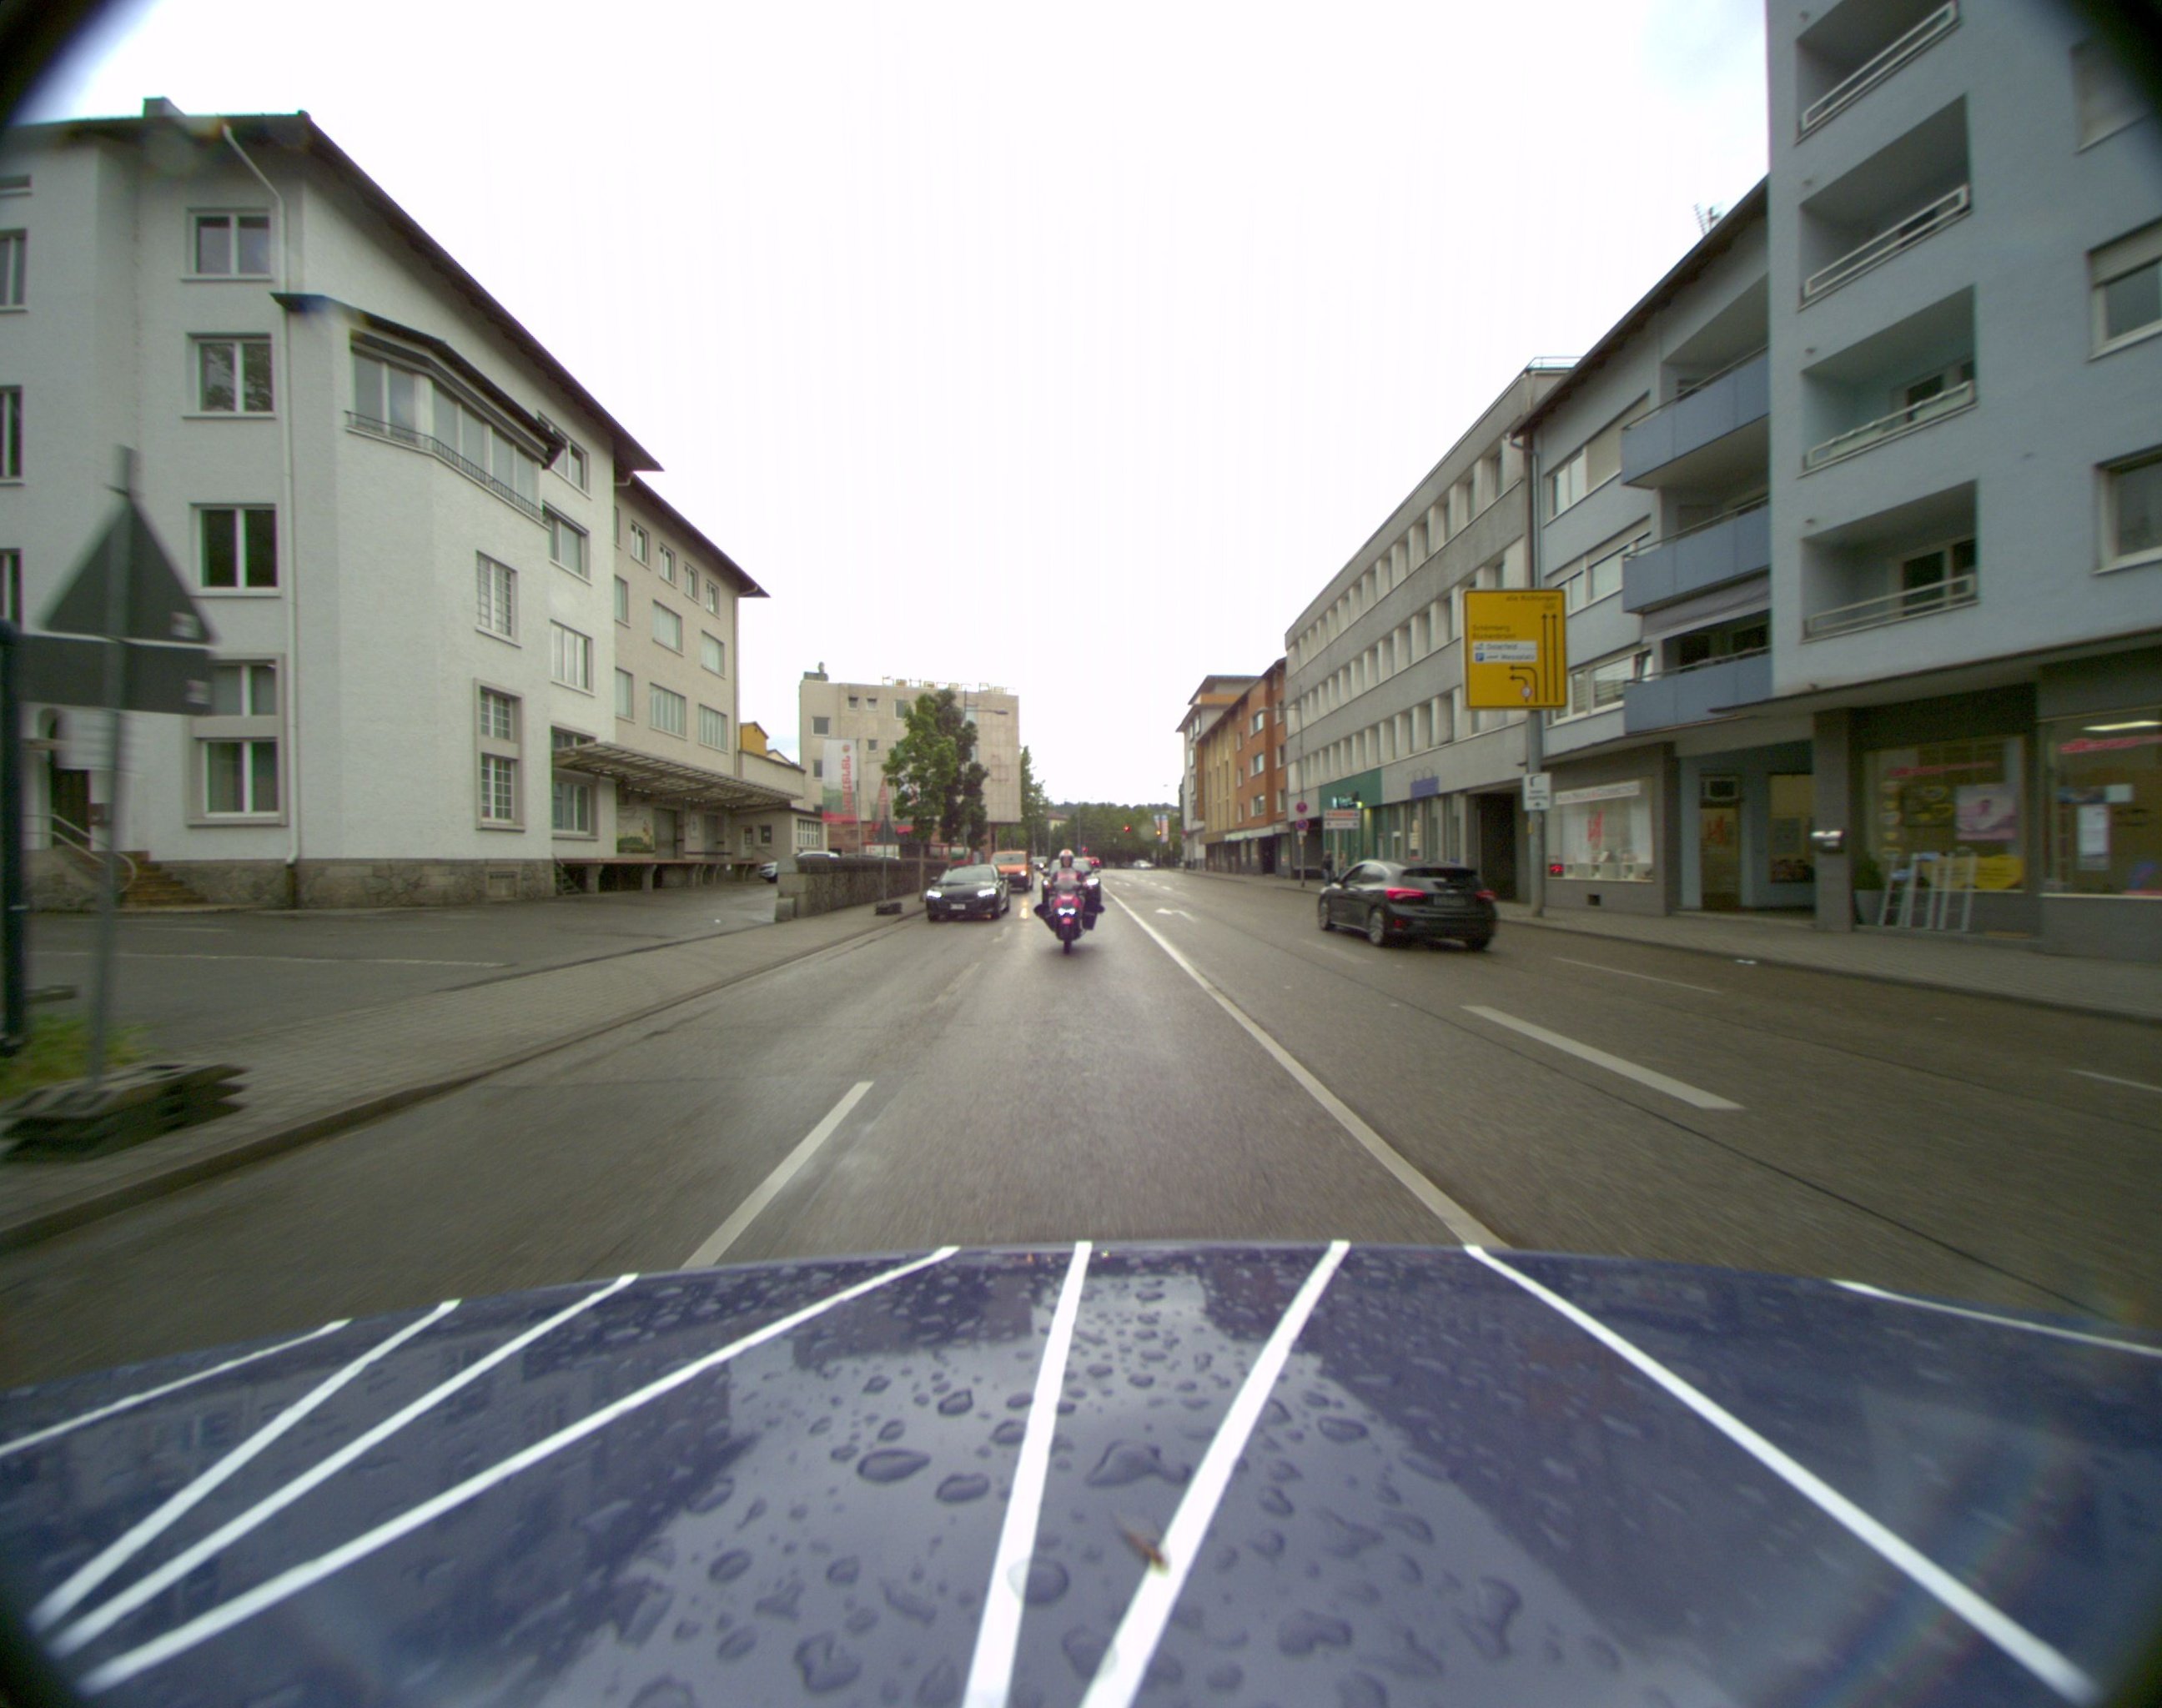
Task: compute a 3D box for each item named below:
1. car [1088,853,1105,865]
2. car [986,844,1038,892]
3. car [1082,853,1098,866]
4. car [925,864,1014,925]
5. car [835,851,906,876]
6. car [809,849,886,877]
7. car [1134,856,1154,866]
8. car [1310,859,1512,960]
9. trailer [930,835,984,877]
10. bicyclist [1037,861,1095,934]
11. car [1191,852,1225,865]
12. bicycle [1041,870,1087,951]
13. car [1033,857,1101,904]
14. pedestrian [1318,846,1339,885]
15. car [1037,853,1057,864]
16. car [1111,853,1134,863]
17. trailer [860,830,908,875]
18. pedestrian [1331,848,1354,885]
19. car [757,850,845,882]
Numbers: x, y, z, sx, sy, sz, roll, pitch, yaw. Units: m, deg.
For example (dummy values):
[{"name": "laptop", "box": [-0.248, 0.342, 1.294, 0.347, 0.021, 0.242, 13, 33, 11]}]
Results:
[{"name": "car", "box": [2.193, 0.763, 106.591, 1.758, 1.605, 4.215, 0, -1, 8]}, {"name": "car", "box": [-3.260, 0.639, 36.936, 2.107, 2.077, 5.540, -2, 0, -1]}, {"name": "car", "box": [0.998, 0.618, 87.666, 1.737, 1.431, 4.413, 0, 0, 0]}, {"name": "car", "box": [-2.956, 1.034, 21.078, 1.794, 1.395, 4.633, -1, 0, -1]}, {"name": "car", "box": [-14.267, 0.675, 51.503, 4.284, 1.639, 1.863, 1, -1, -34]}, {"name": "car", "box": [-13.844, 0.548, 45.123, 4.008, 1.573, 1.767, 1, -1, -36]}, {"name": "car", "box": [10.276, 1.191, 124.523, 1.899, 1.566, 4.354, 1, 0, -16]}, {"name": "car", "box": [5.574, 0.850, 13.460, 1.725, 1.415, 4.165, 2, 0, 0]}, {"name": "trailer", "box": [-9.881, 0.109, 60.319, 2.640, 3.158, 5.703, 0, 1, -26]}, {"name": "bicyclist", "box": [-0.246, 0.738, 13.177, 0.963, 1.219, 0.715, -1, 1, 1]}, {"name": "car", "box": [15.498, 0.533, 93.036, 3.822, 1.413, 1.797, 2, 2, 0]}, {"name": "bicycle", "box": [-0.277, 0.994, 14.112, 0.717, 1.298, 2.427, -1, 1, 1]}, {"name": "car", "box": [-0.388, 0.855, 26.616, 1.896, 1.397, 4.361, 0, 1, 5]}, {"name": "pedestrian", "box": [11.563, 0.535, 35.533, 0.576, 1.778, 0.826, -5, 1, 0]}, {"name": "car", "box": [-4.970, 0.699, 111.517, 1.894, 1.479, 4.365, 1, 0, 12]}, {"name": "car", "box": [9.720, 0.952, 176.555, 4.839, 1.931, 1.954, -4, -2, 30]}, {"name": "trailer", "box": [-15.172, -0.111, 58.177, 2.753, 3.288, 6.060, -1, 0, -22]}, {"name": "pedestrian", "box": [12.230, 0.593, 35.514, 0.631, 1.666, 0.908, -5, 1, -1]}, {"name": "car", "box": [-14.933, 0.647, 40.548, 3.989, 1.558, 1.923, 1, -4, -39]}]
